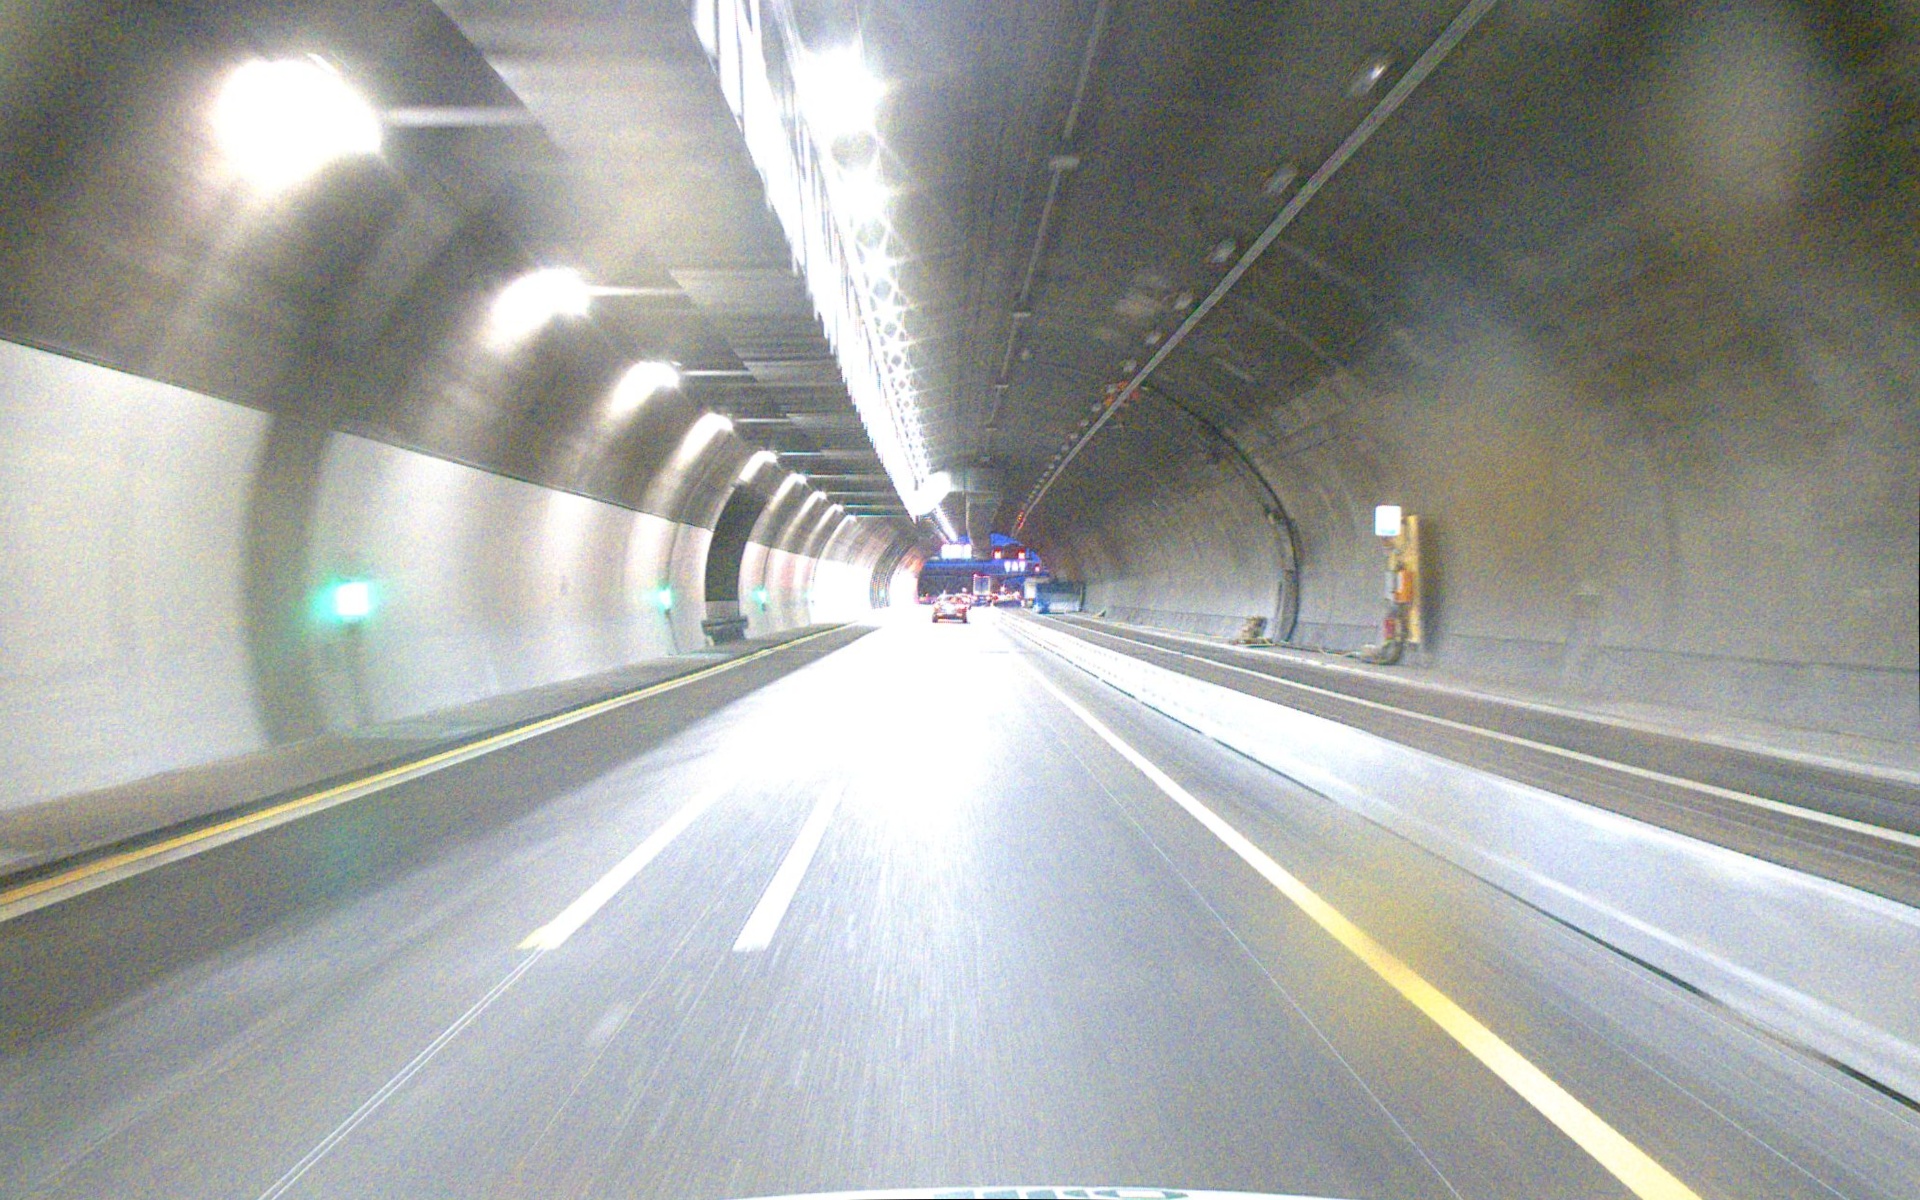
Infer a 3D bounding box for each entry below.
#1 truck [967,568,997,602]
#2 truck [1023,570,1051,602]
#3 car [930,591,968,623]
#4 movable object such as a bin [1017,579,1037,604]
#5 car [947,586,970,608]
[{"bbox_3d":[3.422,-2.197,254.374,4.452,5.074,9.599,1,0,1],"label":"truck"},{"bbox_3d":[8.428,-1.489,182.049,2.832,3.329,8.402,1,0,1],"label":"truck"},{"bbox_3d":[-0.601,0.347,87.241,1.850,1.635,3.998,1,0,-2],"label":"car"},{"bbox_3d":[7.684,-0.920,190.328,2.192,2.843,7.233,1,0,1],"label":"movable object such as a bin"},{"bbox_3d":[-0.147,-0.287,152.679,1.953,2.049,3.999,0,0,-1],"label":"car"}]
